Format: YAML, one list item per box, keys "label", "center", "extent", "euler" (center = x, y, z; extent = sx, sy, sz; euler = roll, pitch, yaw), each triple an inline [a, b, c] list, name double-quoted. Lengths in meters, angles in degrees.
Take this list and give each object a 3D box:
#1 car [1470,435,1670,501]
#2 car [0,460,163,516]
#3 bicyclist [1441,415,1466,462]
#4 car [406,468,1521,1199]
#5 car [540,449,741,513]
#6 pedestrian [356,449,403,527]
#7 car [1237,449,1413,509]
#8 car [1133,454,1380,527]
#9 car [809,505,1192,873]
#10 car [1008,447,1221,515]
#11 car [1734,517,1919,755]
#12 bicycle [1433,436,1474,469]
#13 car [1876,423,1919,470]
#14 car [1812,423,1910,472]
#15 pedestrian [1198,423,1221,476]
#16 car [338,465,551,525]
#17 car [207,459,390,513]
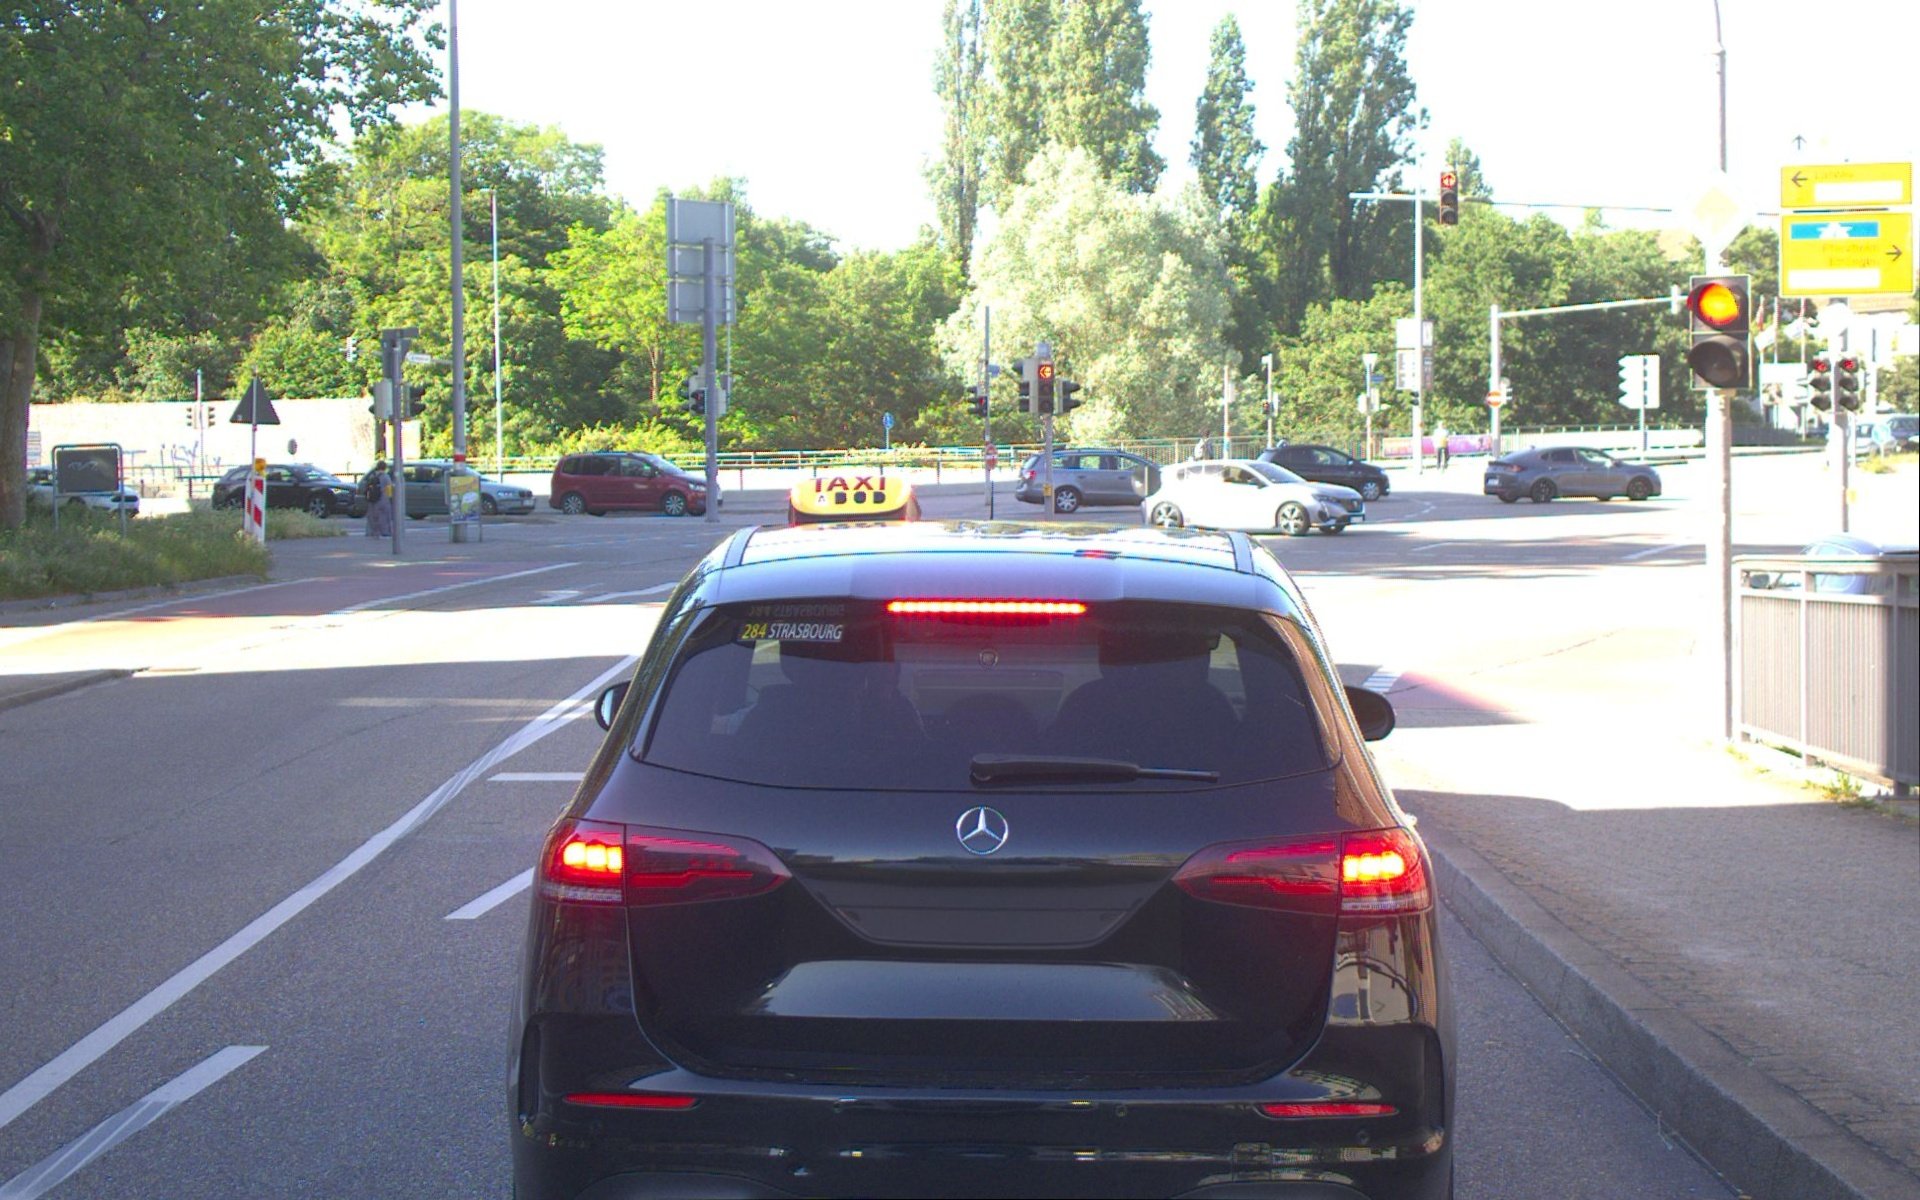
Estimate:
- label: "car"
  center: [14.647, -3.196, 82.653]
  extent: [4.280, 1.436, 2.001]
  euler: [-2, 3, -10]
- label: "car"
  center: [-22.745, -2.867, 88.144]
  extent: [4.308, 1.360, 1.997]
  euler: [1, 4, 31]
- label: "bicyclist"
  center: [16.418, -5.384, 114.359]
  extent: [0.526, 1.545, 0.805]
  euler: [0, 3, 33]
- label: "car"
  center: [-0.020, 0.537, 7.844]
  extent: [1.878, 1.608, 4.000]
  euler: [1, 2, -1]
- label: "car"
  center: [-7.954, -2.967, 85.771]
  extent: [4.540, 1.450, 1.999]
  euler: [0, 4, 14]
- label: "pedestrian"
  center: [-11.476, -2.210, 67.991]
  extent: [0.705, 1.520, 0.743]
  euler: [1, 2, 10]
- label: "car"
  center: [9.154, -3.045, 86.341]
  extent: [4.064, 1.352, 1.788]
  euler: [-2, 3, -7]
- label: "car"
  center: [5.638, -2.074, 65.440]
  extent: [4.225, 1.290, 1.997]
  euler: [1, 4, 33]
- label: "car"
  center: [0.226, 0.342, 16.729]
  extent: [1.640, 1.524, 3.474]
  euler: [-1, 2, 2]
- label: "car"
  center: [3.615, -2.810, 81.112]
  extent: [4.806, 1.436, 2.001]
  euler: [-2, 3, -4]
- label: "car"
  center: [7.557, 0.231, 28.042]
  extent: [1.721, 1.598, 4.298]
  euler: [1, 4, 3]
- label: "bicycle"
  center: [16.420, -4.908, 114.389]
  extent: [0.526, 1.046, 1.986]
  euler: [0, 3, 33]
- label: "car"
  center: [33.558, -5.372, 119.821]
  extent: [1.882, 1.573, 3.992]
  euler: [1, 3, 36]
- label: "car"
  center: [30.068, -5.108, 114.667]
  extent: [1.882, 1.573, 3.992]
  euler: [1, 3, 36]
- label: "pedestrian"
  center: [7.466, -4.499, 102.965]
  extent: [0.451, 1.580, 0.500]
  euler: [1, 3, 40]
- label: "car"
  center: [-12.315, -2.519, 82.246]
  extent: [4.583, 1.290, 1.999]
  euler: [0, 4, 16]
- label: "car"
  center: [-17.227, -2.961, 89.467]
  extent: [4.588, 1.290, 1.883]
  euler: [1, 4, 32]
